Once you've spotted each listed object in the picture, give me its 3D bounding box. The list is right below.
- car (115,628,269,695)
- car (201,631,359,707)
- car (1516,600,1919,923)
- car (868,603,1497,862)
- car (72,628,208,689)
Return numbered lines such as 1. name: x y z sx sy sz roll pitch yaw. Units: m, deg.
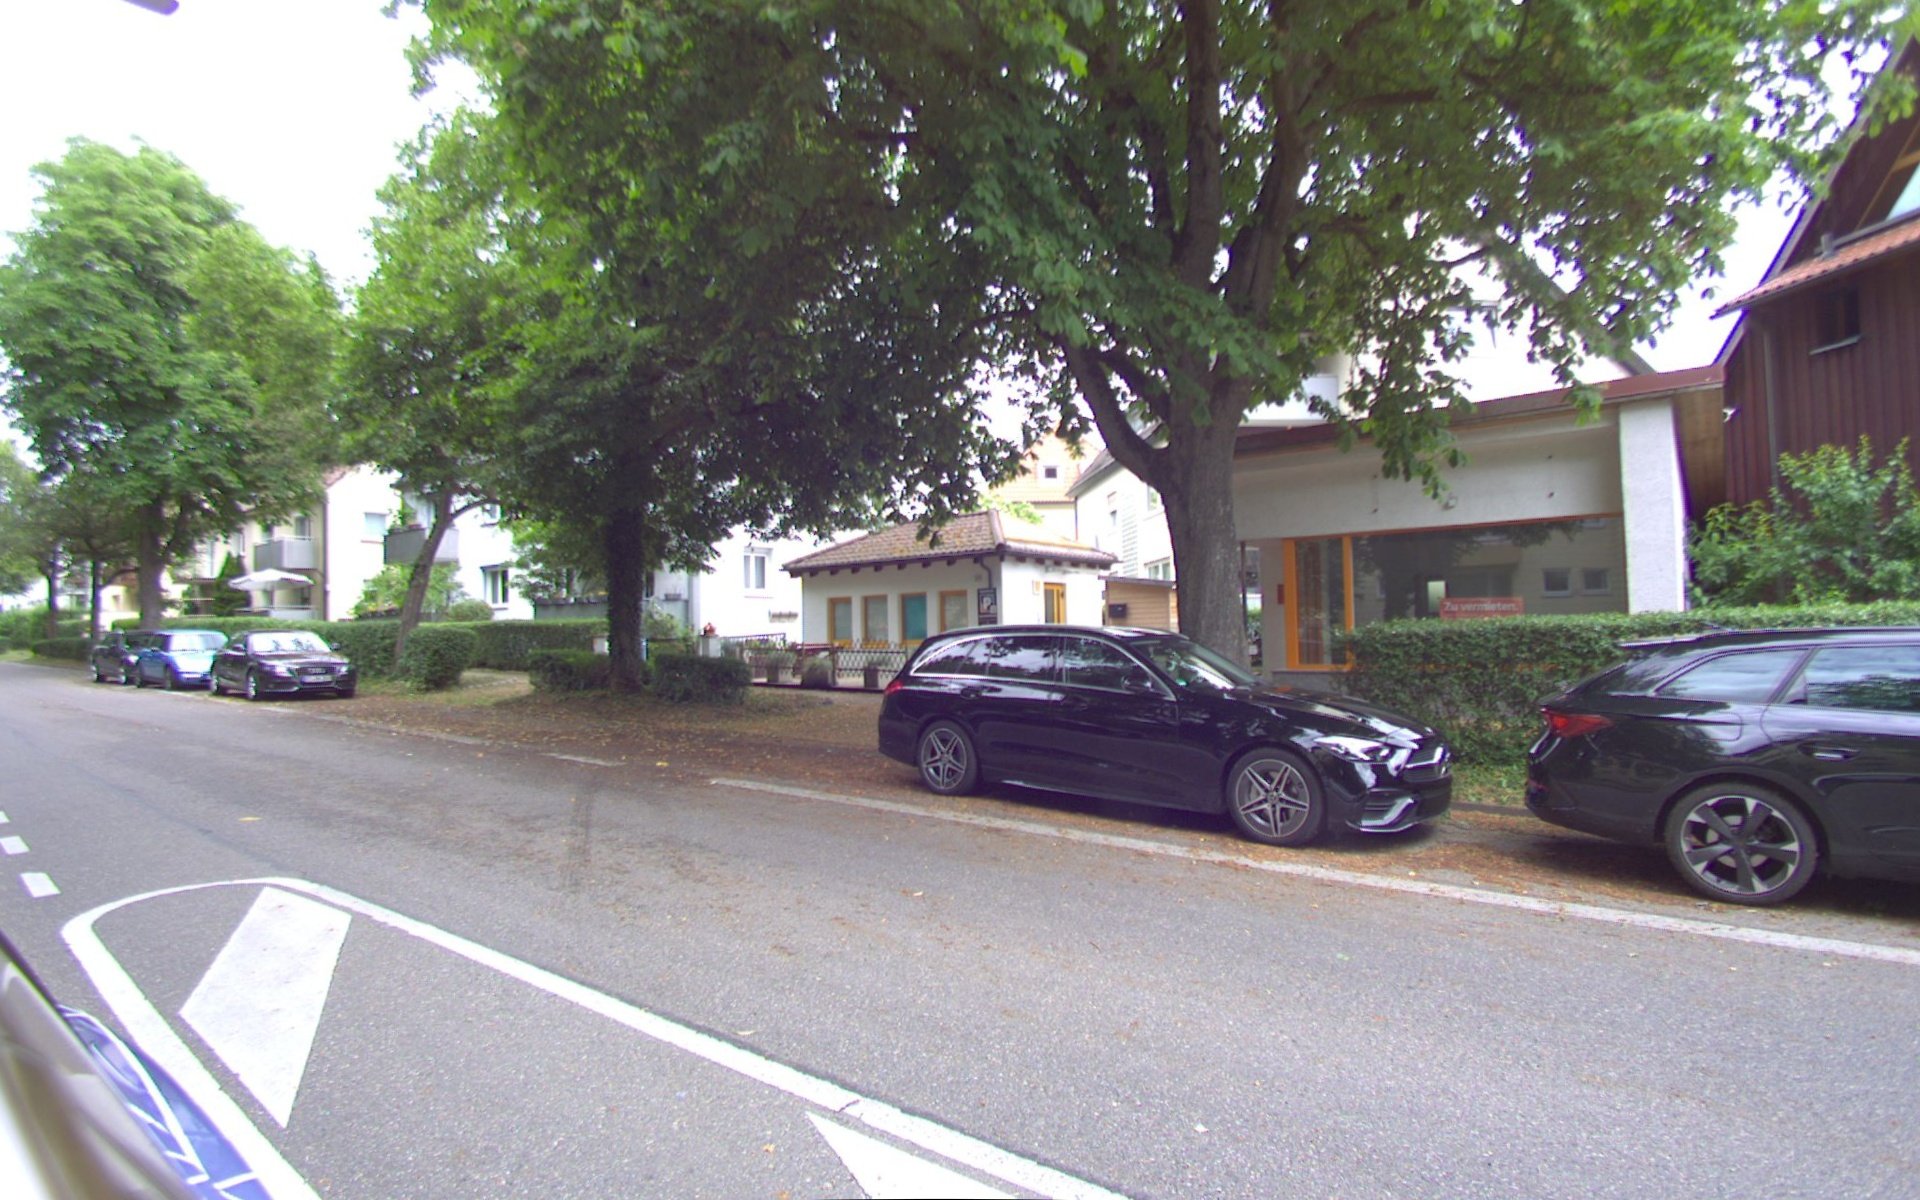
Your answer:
1. car: -18.916 1.464 24.859 4.558 1.512 1.866 -2 -3 37
2. car: -14.222 1.378 21.092 4.169 1.414 1.713 -2 -3 41
3. car: 5.451 0.756 4.987 4.536 1.497 1.674 -2 -3 38
4. car: 1.556 0.865 8.200 4.612 1.511 1.973 -2 -3 41
5. car: -22.605 1.563 27.851 4.558 1.545 1.866 -2 -3 37
